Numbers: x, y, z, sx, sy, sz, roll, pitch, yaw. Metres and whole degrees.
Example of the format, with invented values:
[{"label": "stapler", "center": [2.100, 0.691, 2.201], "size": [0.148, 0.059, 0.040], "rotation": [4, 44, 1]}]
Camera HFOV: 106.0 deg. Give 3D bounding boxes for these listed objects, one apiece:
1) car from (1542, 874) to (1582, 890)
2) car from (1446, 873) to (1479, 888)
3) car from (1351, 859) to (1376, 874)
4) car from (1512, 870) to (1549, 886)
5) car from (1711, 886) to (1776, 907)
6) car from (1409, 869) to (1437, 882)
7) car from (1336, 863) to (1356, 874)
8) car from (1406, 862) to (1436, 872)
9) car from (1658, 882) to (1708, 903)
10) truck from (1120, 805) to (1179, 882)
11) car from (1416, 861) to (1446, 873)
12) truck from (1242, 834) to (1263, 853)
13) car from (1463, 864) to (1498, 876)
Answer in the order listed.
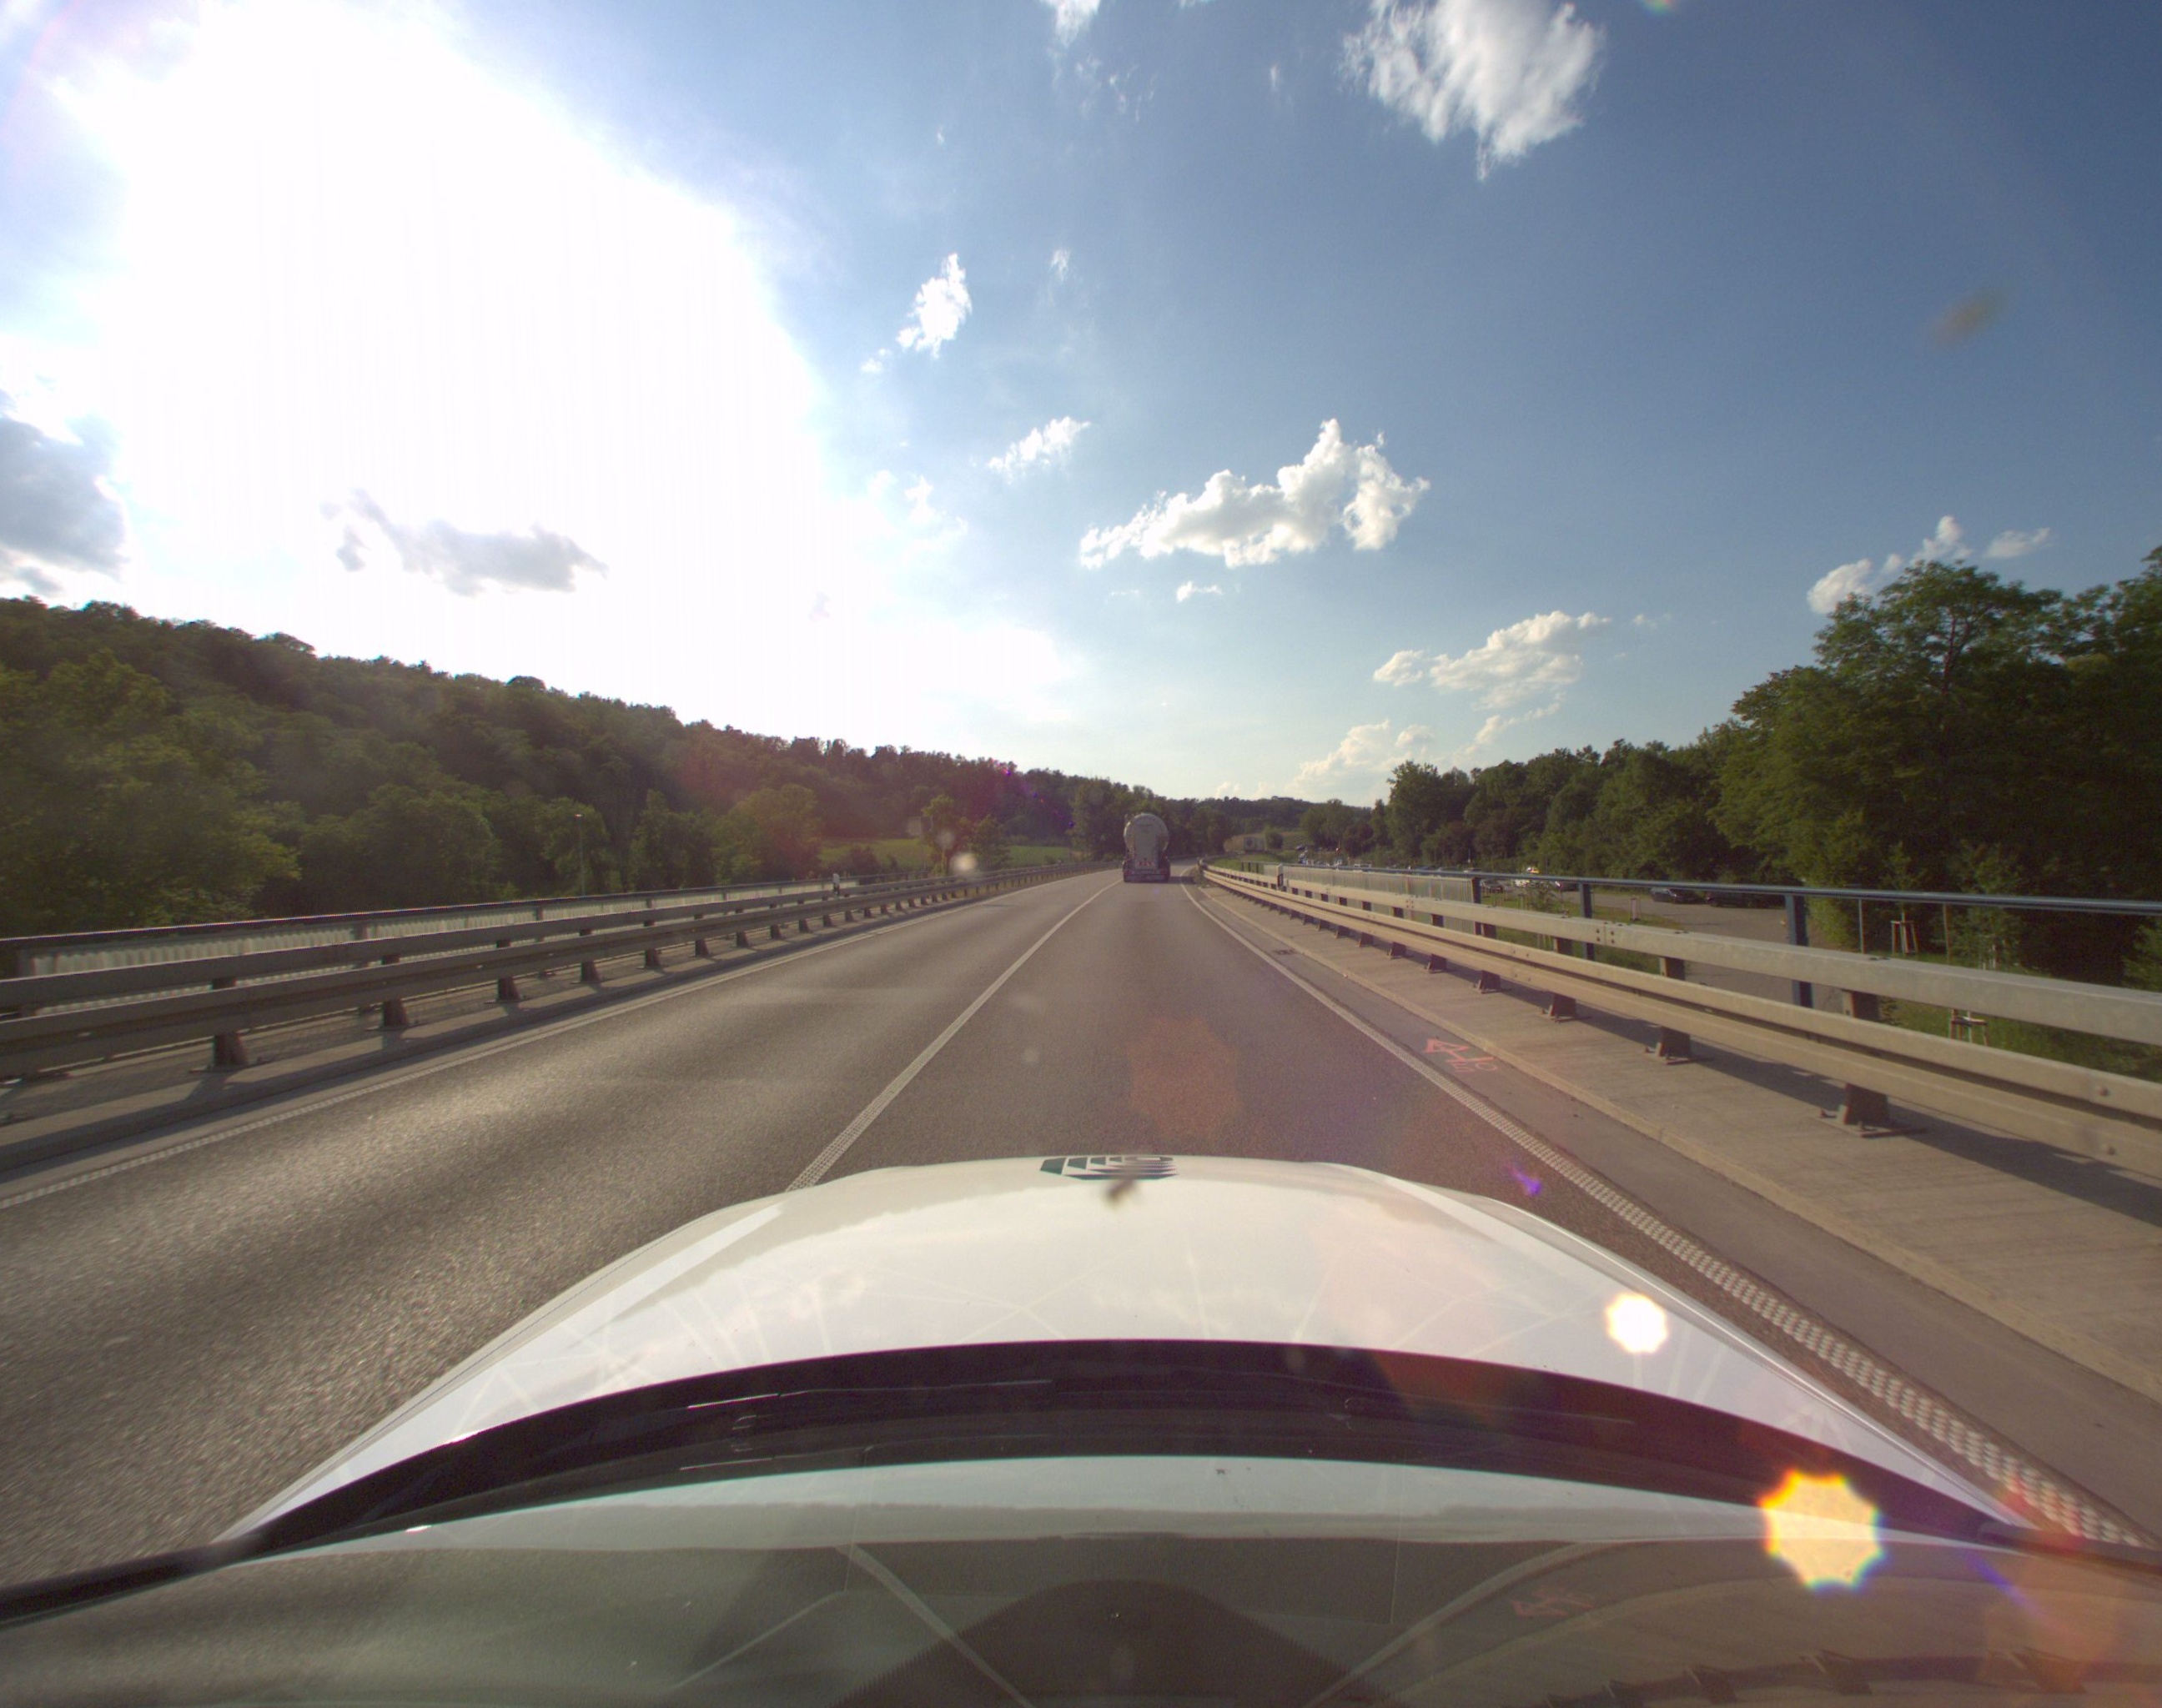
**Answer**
[{"label": "car", "center": [51.454, 2.970, 87.142], "size": [1.650, 1.496, 4.220], "rotation": [-2, 0, -2]}, {"label": "car", "center": [46.184, 3.181, 98.710], "size": [1.814, 1.401, 4.251], "rotation": [-4, 1, -4]}, {"label": "car", "center": [46.360, 2.044, 133.904], "size": [2.112, 2.017, 5.379], "rotation": [-5, 1, 0]}, {"label": "car", "center": [51.579, 2.772, 93.611], "size": [1.648, 1.666, 4.709], "rotation": [-2, 0, 1]}, {"label": "car", "center": [51.759, 3.307, 63.645], "size": [1.669, 1.496, 3.640], "rotation": [-2, -1, -42]}, {"label": "car", "center": [46.449, 2.951, 110.666], "size": [1.814, 1.482, 4.251], "rotation": [-4, 1, -4]}, {"label": "car", "center": [46.433, 2.509, 142.683], "size": [1.886, 1.482, 4.783], "rotation": [-5, 1, 0]}, {"label": "car", "center": [56.499, 2.168, 135.295], "size": [4.220, 1.604, 1.833], "rotation": [-1, 0, -1]}, {"label": "car", "center": [50.919, 3.228, 68.962], "size": [1.645, 1.496, 3.837], "rotation": [-2, 0, 7]}, {"label": "truck", "center": [4.509, -0.536, 51.092], "size": [2.876, 4.143, 13.201], "rotation": [-1, 0, 8]}, {"label": "car", "center": [56.579, 2.100, 131.665], "size": [4.227, 1.742, 1.830], "rotation": [-1, 1, -6]}, {"label": "truck", "center": [41.383, -2.568, 196.304], "size": [3.158, 4.227, 13.236], "rotation": [-2, 1, 18]}, {"label": "car", "center": [57.603, 2.310, 117.363], "size": [4.401, 1.456, 1.729], "rotation": [-2, 1, -10]}]
